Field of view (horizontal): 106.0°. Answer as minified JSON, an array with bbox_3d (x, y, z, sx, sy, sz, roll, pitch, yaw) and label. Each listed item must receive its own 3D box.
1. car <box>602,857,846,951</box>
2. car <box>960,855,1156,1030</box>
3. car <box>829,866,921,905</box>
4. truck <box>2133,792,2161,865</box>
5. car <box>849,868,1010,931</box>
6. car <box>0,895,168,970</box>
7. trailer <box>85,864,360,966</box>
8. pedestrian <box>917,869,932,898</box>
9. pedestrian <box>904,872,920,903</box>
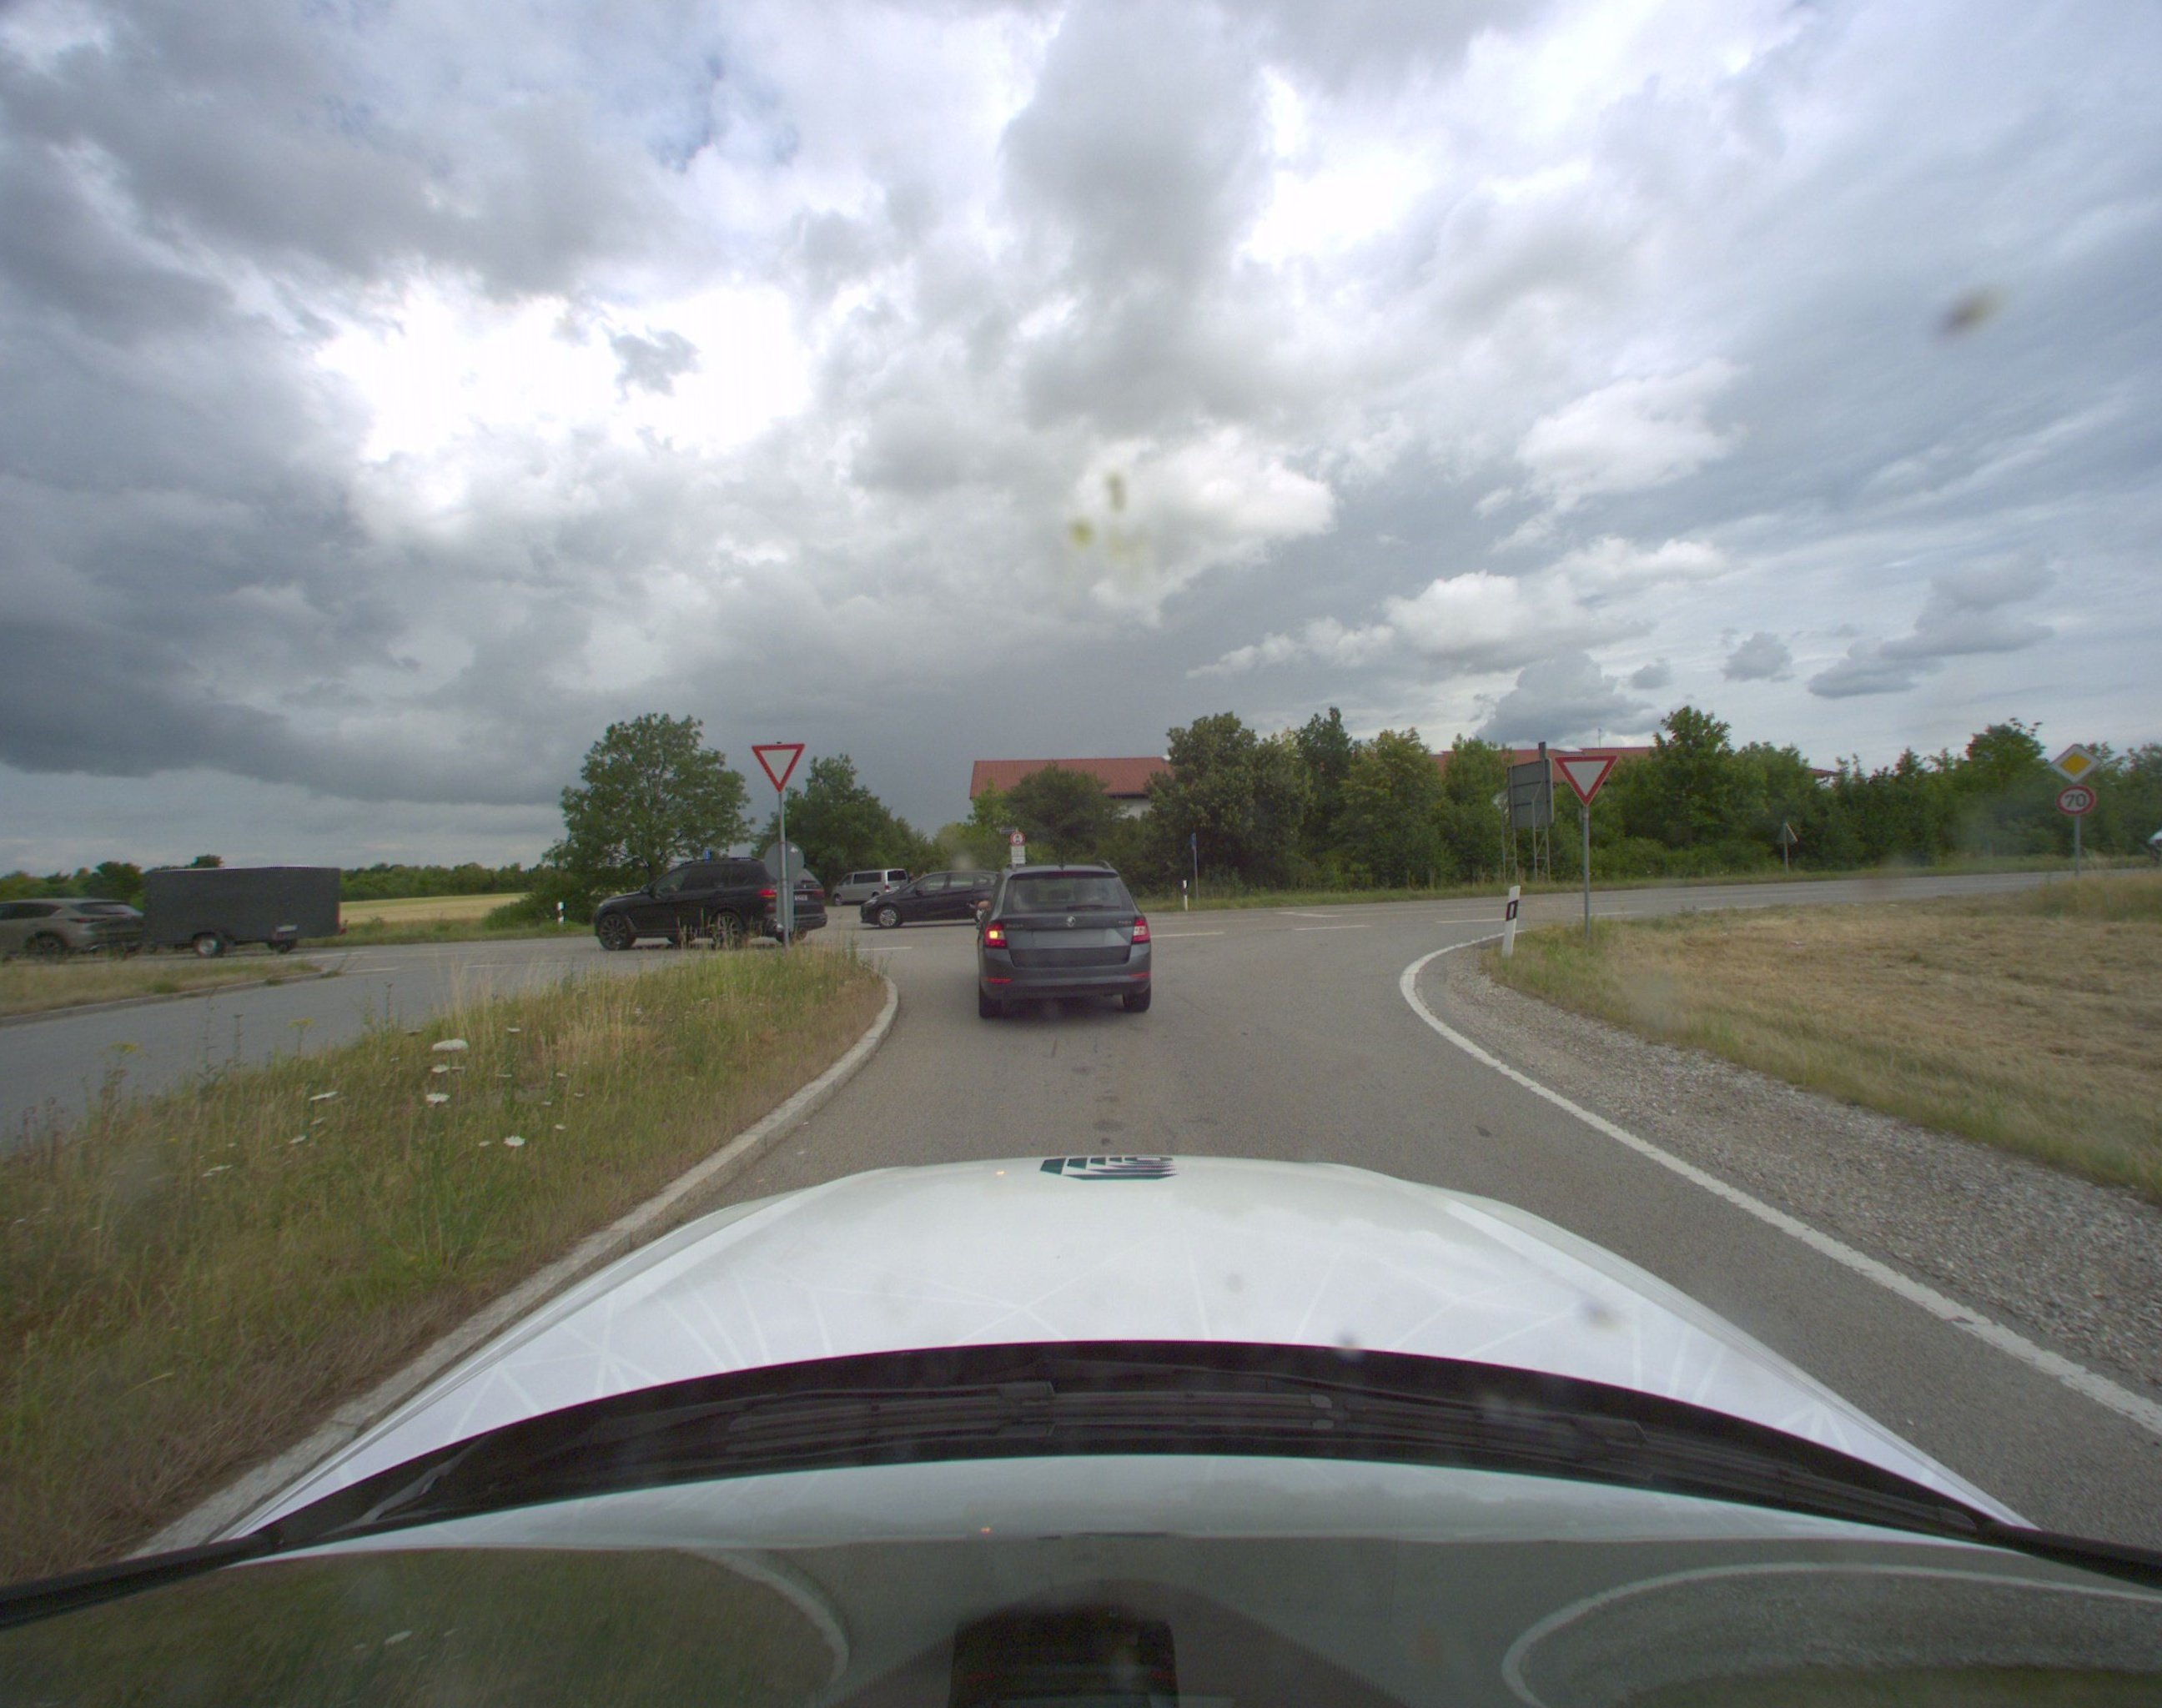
[{"bbox_3d":[-7.532,1.044,17.200,4.589,1.774,2.010,-2,-1,21],"label":"car"},{"bbox_3d":[-0.346,0.782,8.867,1.674,1.463,3.700,-1,-1,-5],"label":"car"},{"bbox_3d":[-11.916,1.819,47.007,4.851,2.013,2.357,-3,0,33],"label":"car"},{"bbox_3d":[41.298,-1.016,28.867,5.989,2.576,1.995,-2,-2,-7],"label":"truck"},{"bbox_3d":[-4.237,1.253,23.353,4.283,1.487,1.995,-3,-1,-7],"label":"car"},{"bbox_3d":[-26.728,2.025,20.640,4.463,1.682,1.994,-3,-2,-9],"label":"car"},{"bbox_3d":[-22.337,1.528,21.431,4.379,2.292,2.410,-3,-2,-8],"label":"trailer"},{"bbox_3d":[-9.288,1.765,48.299,0.578,1.682,0.569,-3,0,20],"label":"pedestrian"},{"bbox_3d":[-9.673,1.892,46.558,0.523,1.725,0.646,-3,0,32],"label":"pedestrian"}]
